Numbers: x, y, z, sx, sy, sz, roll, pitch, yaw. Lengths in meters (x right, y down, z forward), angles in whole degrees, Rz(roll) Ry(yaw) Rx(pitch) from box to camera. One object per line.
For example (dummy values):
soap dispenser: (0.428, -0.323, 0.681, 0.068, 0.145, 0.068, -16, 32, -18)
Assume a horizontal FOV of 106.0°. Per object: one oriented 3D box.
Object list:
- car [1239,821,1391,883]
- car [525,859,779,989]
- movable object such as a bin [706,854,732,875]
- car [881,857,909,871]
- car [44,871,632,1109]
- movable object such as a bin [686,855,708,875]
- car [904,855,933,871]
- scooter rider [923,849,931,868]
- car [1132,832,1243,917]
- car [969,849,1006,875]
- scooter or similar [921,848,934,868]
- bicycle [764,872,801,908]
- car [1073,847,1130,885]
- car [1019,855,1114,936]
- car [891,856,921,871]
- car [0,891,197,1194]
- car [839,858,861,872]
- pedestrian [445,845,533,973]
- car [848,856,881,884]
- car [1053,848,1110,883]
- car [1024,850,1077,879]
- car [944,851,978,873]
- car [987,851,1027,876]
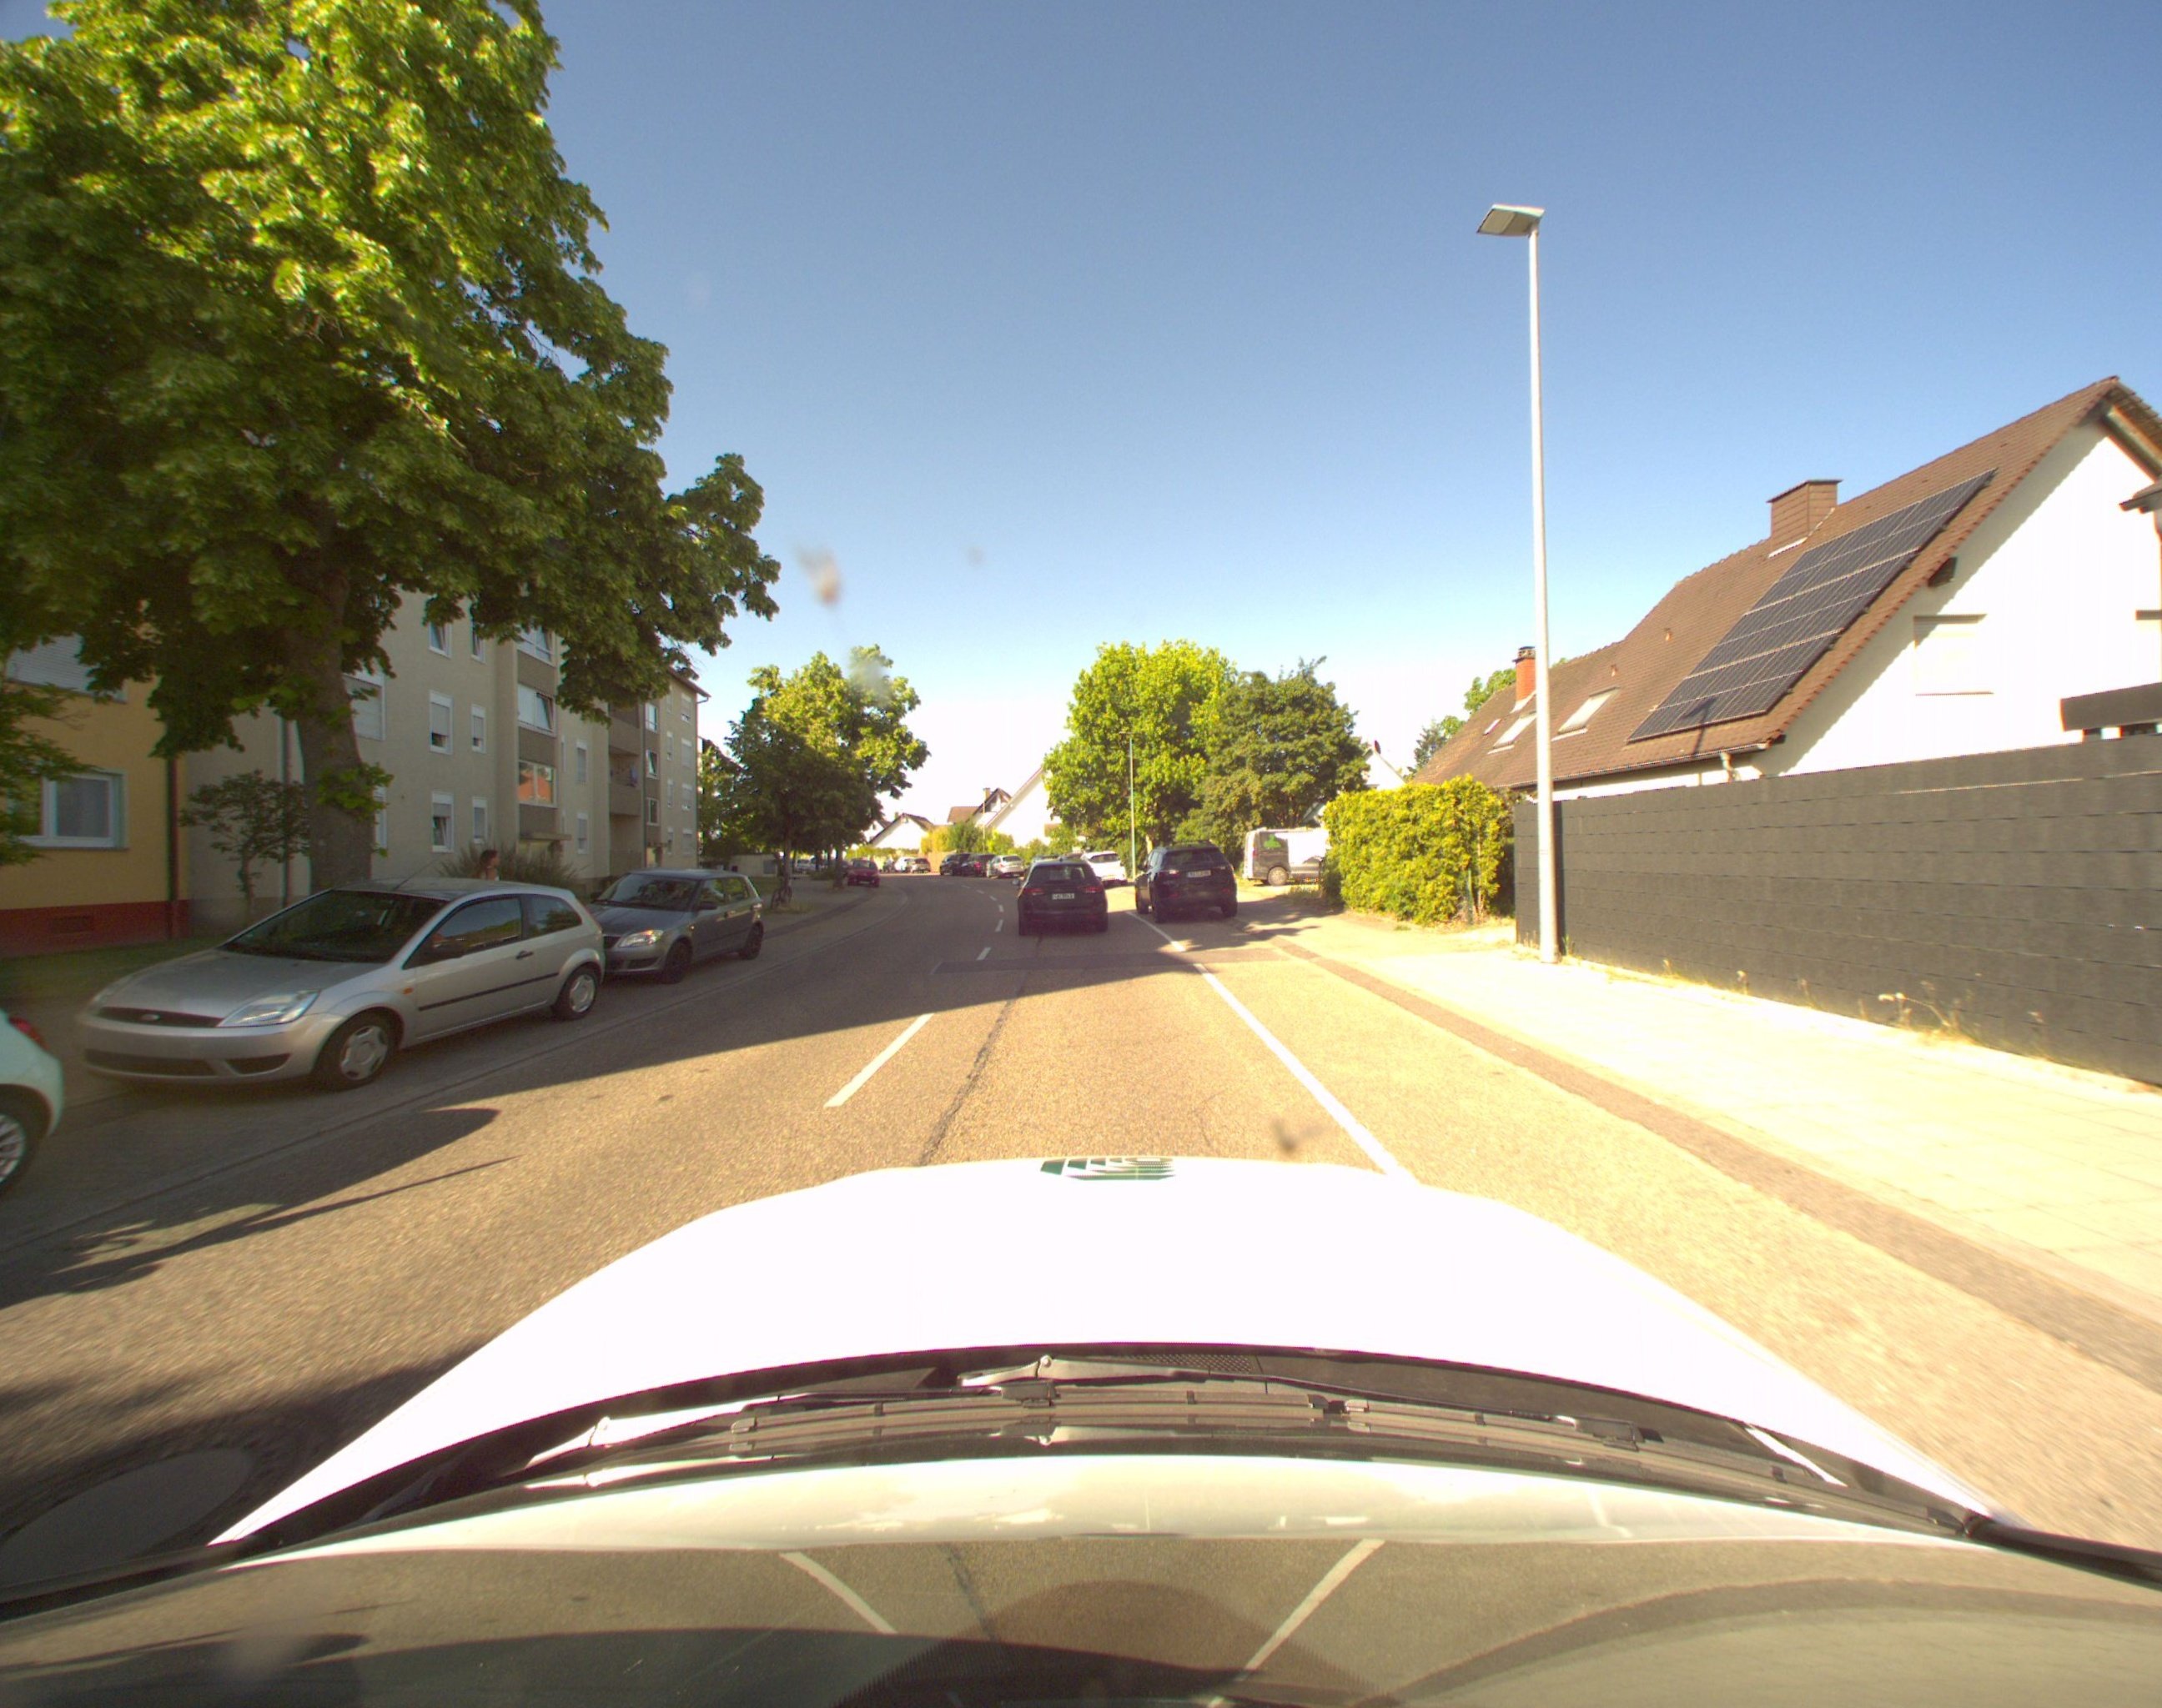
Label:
car: (8.077, -0.056, 28.449, 4.665, 1.984, 2.143, -1, -1, 0)
car: (-6.163, 0.898, 12.277, 1.562, 1.530, 3.920, 3, 0, 2)
movable object such as a bin: (-25.772, 0.731, 57.943, 1.520, 1.427, 1.082, -1, -2, -16)
car: (-19.658, 1.041, 85.994, 1.926, 1.407, 4.256, -1, -1, -27)
car: (-6.150, 0.958, 7.522, 1.651, 1.510, 4.002, 0, 0, 2)
movable object such as a bin: (-27.126, 0.770, 57.548, 1.174, 1.321, 1.082, -1, -2, -16)
car: (-15.172, 0.815, 75.876, 1.923, 1.407, 4.264, -1, -1, -20)
scooter rider: (-16.154, 0.463, 85.496, 0.689, 2.014, 0.813, 0, -3, -25)
car: (2.338, 0.443, 18.972, 1.774, 1.724, 4.288, -1, -1, -4)
car: (-6.772, 0.588, 58.561, 2.010, 1.724, 4.270, -1, -1, -16)
scooter or similar: (-16.147, 0.417, 85.486, 0.688, 2.014, 2.938, 0, -2, -24)
bicycle: (-8.748, 1.031, 23.904, 0.366, 0.969, 1.884, -1, 0, 0)
car: (0.803, 0.502, 34.618, 1.759, 1.480, 4.282, -1, -1, -8)
car: (-0.401, 0.790, 17.227, 1.758, 1.491, 4.284, 0, -1, -4)
car: (-17.594, 0.979, 81.696, 1.926, 1.407, 4.256, -1, -1, -27)
car: (-6.344, 0.966, 3.045, 1.696, 1.523, 4.049, -2, -2, -2)
car: (-29.845, 1.417, 104.947, 2.016, 1.724, 4.257, -1, -1, -26)
pedestrian: (-8.274, 0.758, 11.407, 0.683, 1.718, 0.720, -1, -2, 0)
car: (-12.362, 0.905, 46.381, 1.692, 1.491, 4.266, 1, -1, -17)
car: (-0.042, 0.555, 39.776, 1.913, 1.600, 4.276, -1, -1, -12)
car: (-1.740, 0.592, 44.792, 2.009, 1.475, 4.271, -1, -1, -15)
car: (-9.446, 0.638, 63.824, 1.908, 1.666, 4.165, -1, -1, -18)
car: (-4.887, 0.604, 53.385, 1.824, 1.534, 4.235, -1, -1, -16)
